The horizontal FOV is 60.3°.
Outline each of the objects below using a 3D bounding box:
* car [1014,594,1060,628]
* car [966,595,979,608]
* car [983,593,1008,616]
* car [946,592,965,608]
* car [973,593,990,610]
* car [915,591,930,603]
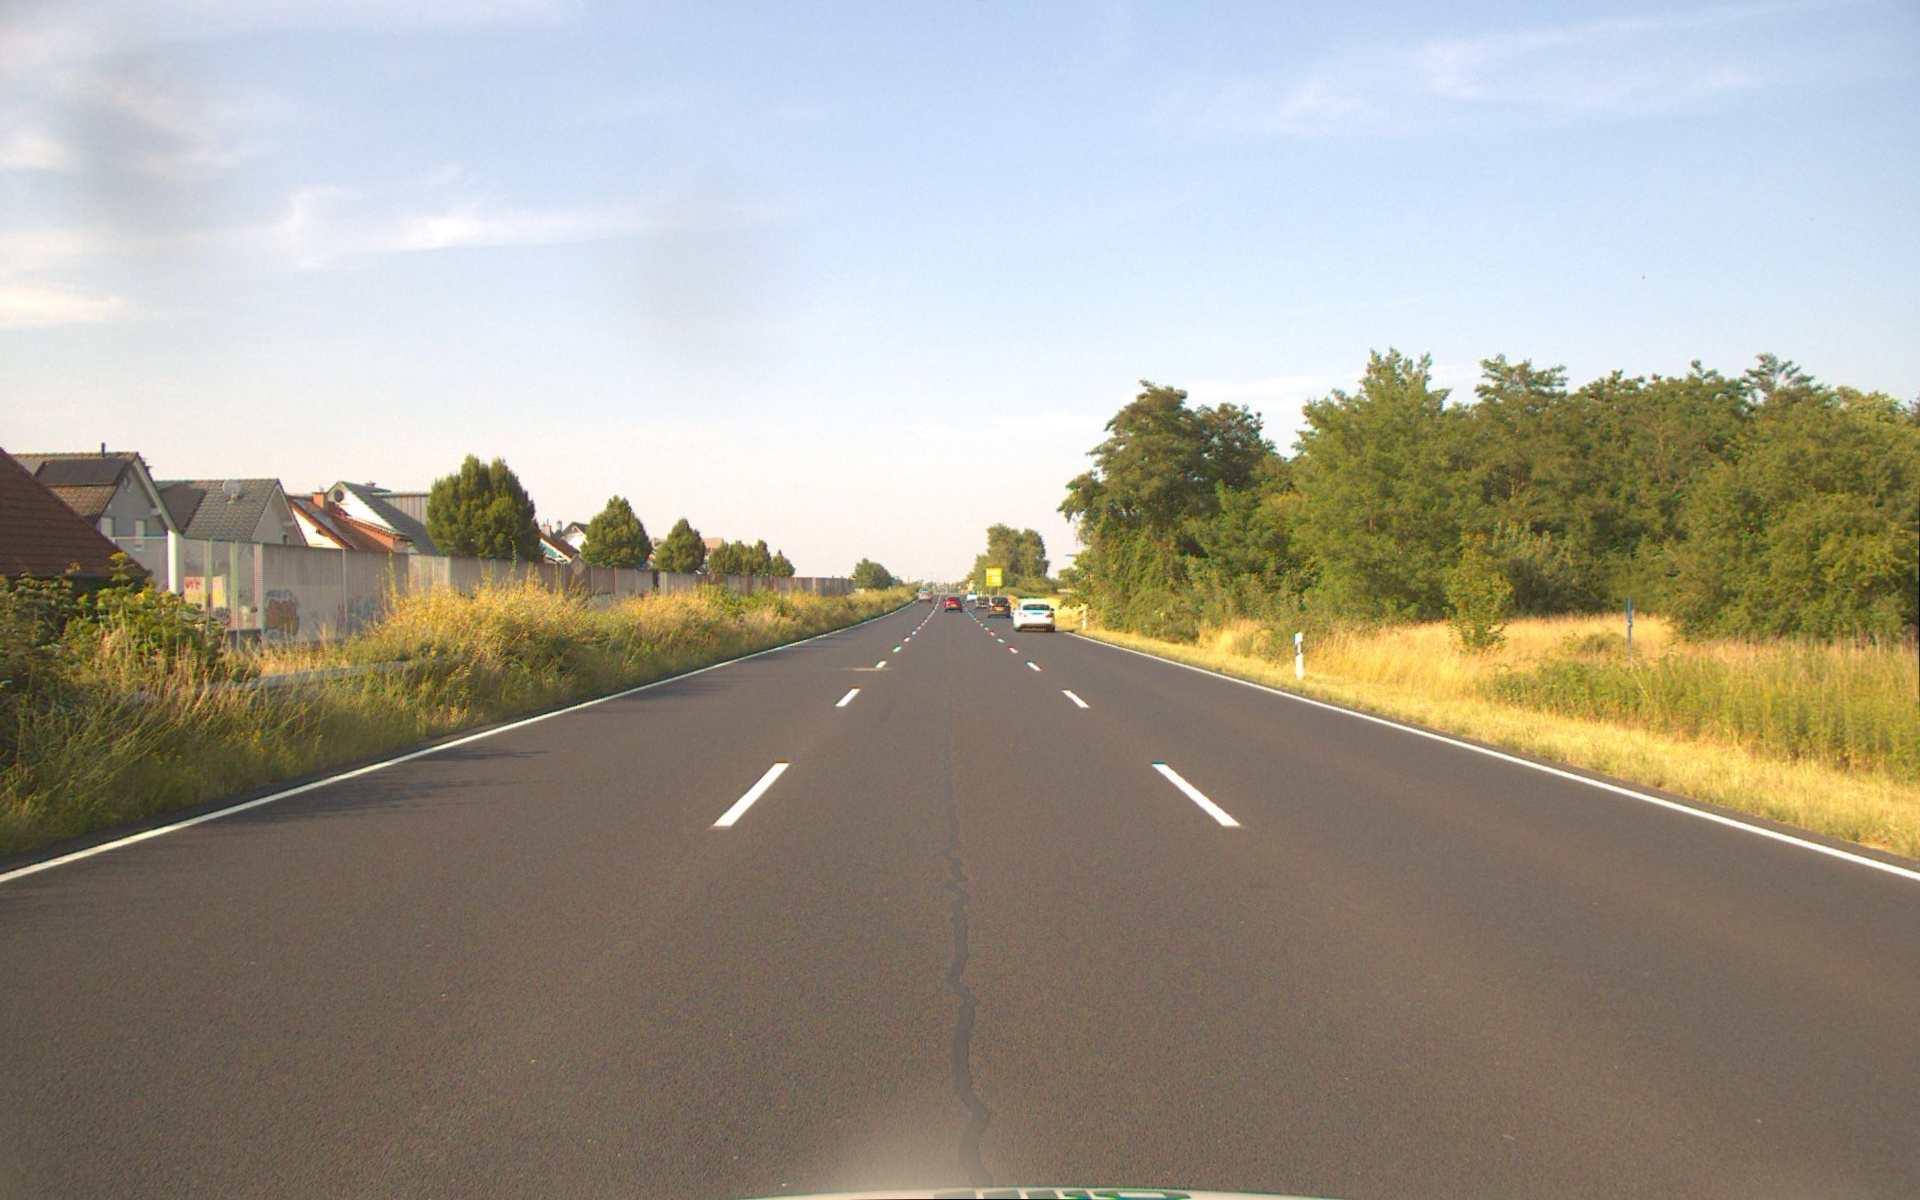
[{"bbox_3d":[3.611,0.542,78.263,1.953,1.543,3.999,1,0,-1],"label":"car"},{"bbox_3d":[1.817,0.233,245.589,1.809,1.780,4.000,1,0,0],"label":"car"},{"bbox_3d":[2.715,0.358,127.982,1.791,1.758,3.999,1,0,-1],"label":"car"},{"bbox_3d":[-0.439,0.038,158.719,1.775,1.461,3.857,1,0,-1],"label":"car"},{"bbox_3d":[2.252,0.140,173.698,1.796,1.747,3.862,1,0,0],"label":"car"},{"bbox_3d":[-5.376,-0.396,237.348,1.953,1.747,3.999,1,0,-1],"label":"car"}]
